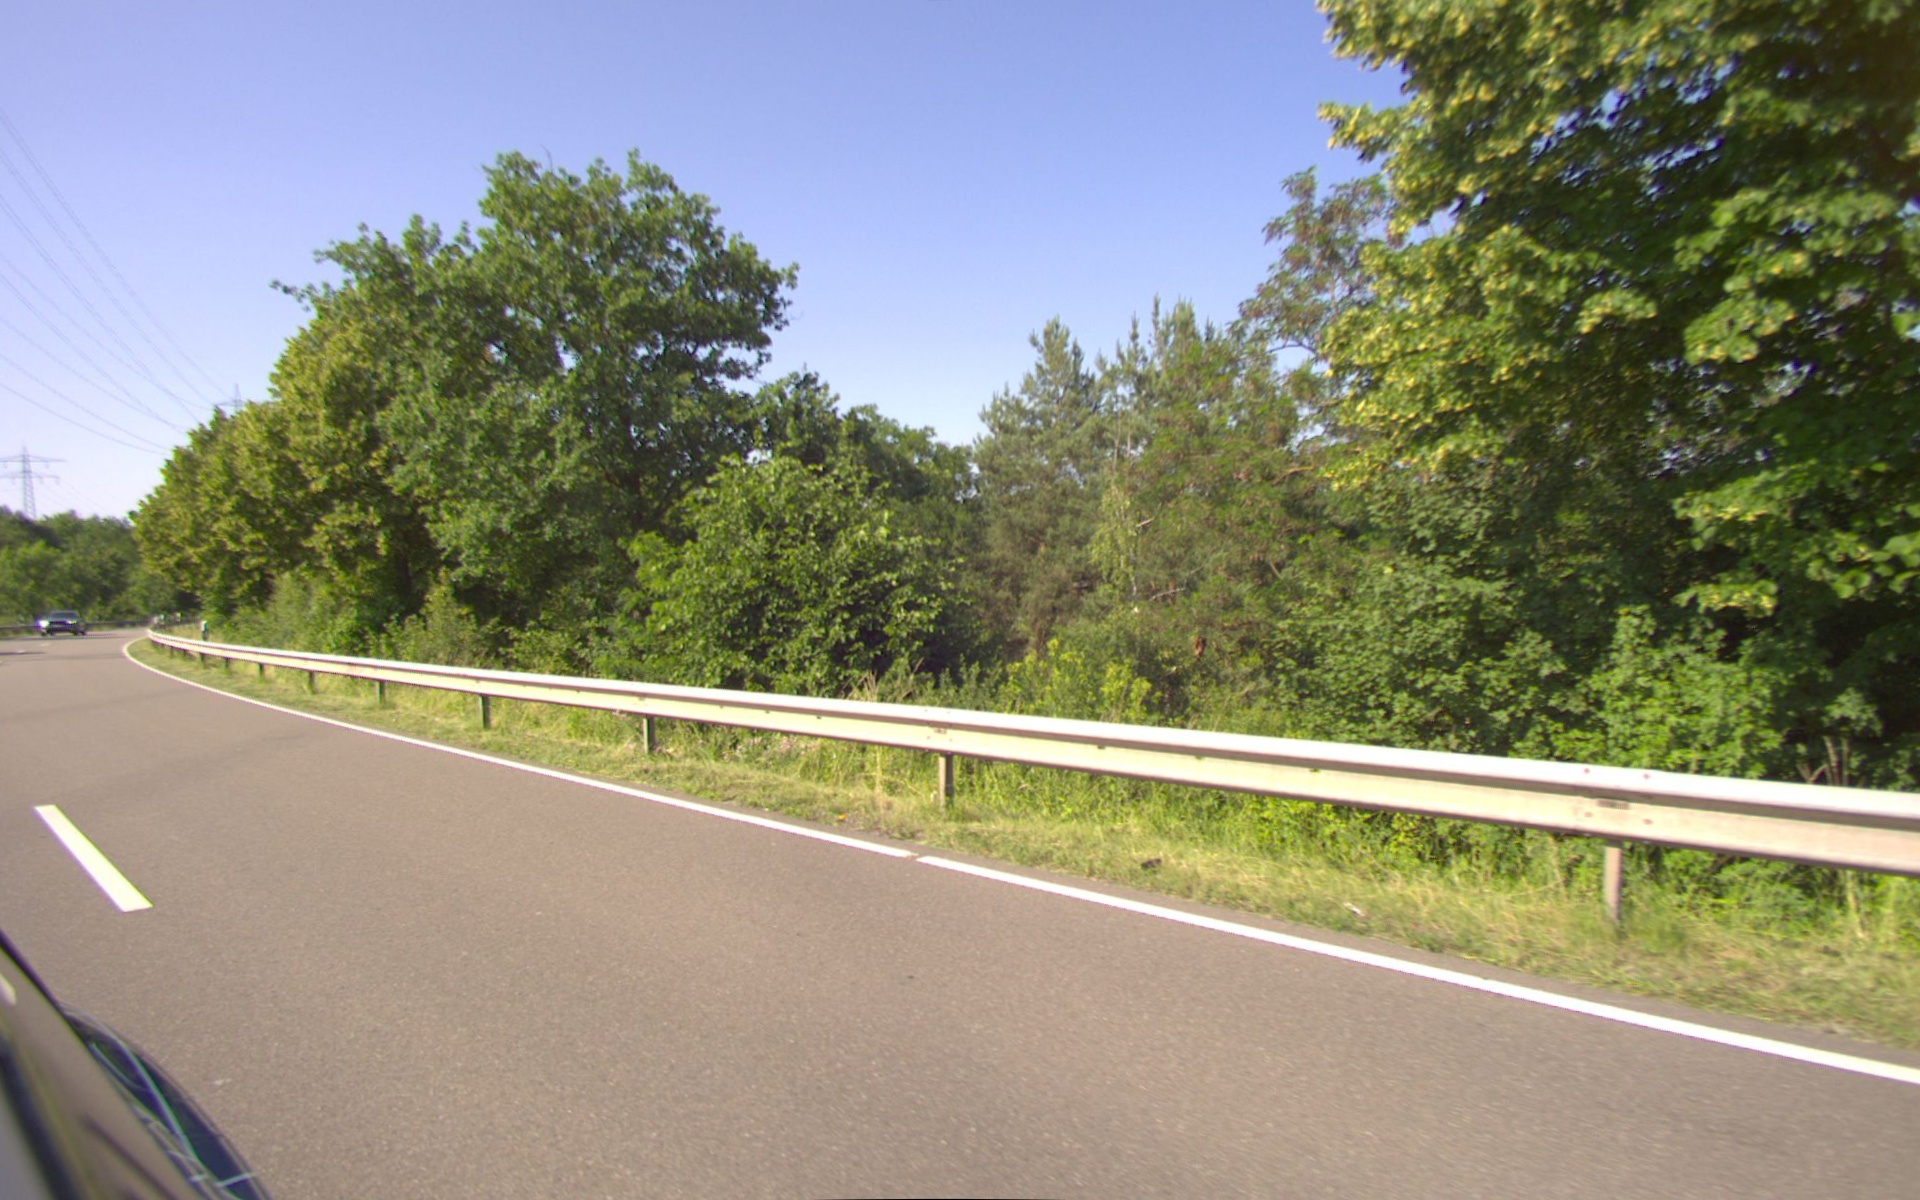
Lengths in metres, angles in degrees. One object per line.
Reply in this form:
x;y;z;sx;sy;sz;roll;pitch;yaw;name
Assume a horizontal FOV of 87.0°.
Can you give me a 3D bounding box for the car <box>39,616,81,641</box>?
-59.506;1.865;66.959;1.581;1.506;4.010;-1;1;-35;car
